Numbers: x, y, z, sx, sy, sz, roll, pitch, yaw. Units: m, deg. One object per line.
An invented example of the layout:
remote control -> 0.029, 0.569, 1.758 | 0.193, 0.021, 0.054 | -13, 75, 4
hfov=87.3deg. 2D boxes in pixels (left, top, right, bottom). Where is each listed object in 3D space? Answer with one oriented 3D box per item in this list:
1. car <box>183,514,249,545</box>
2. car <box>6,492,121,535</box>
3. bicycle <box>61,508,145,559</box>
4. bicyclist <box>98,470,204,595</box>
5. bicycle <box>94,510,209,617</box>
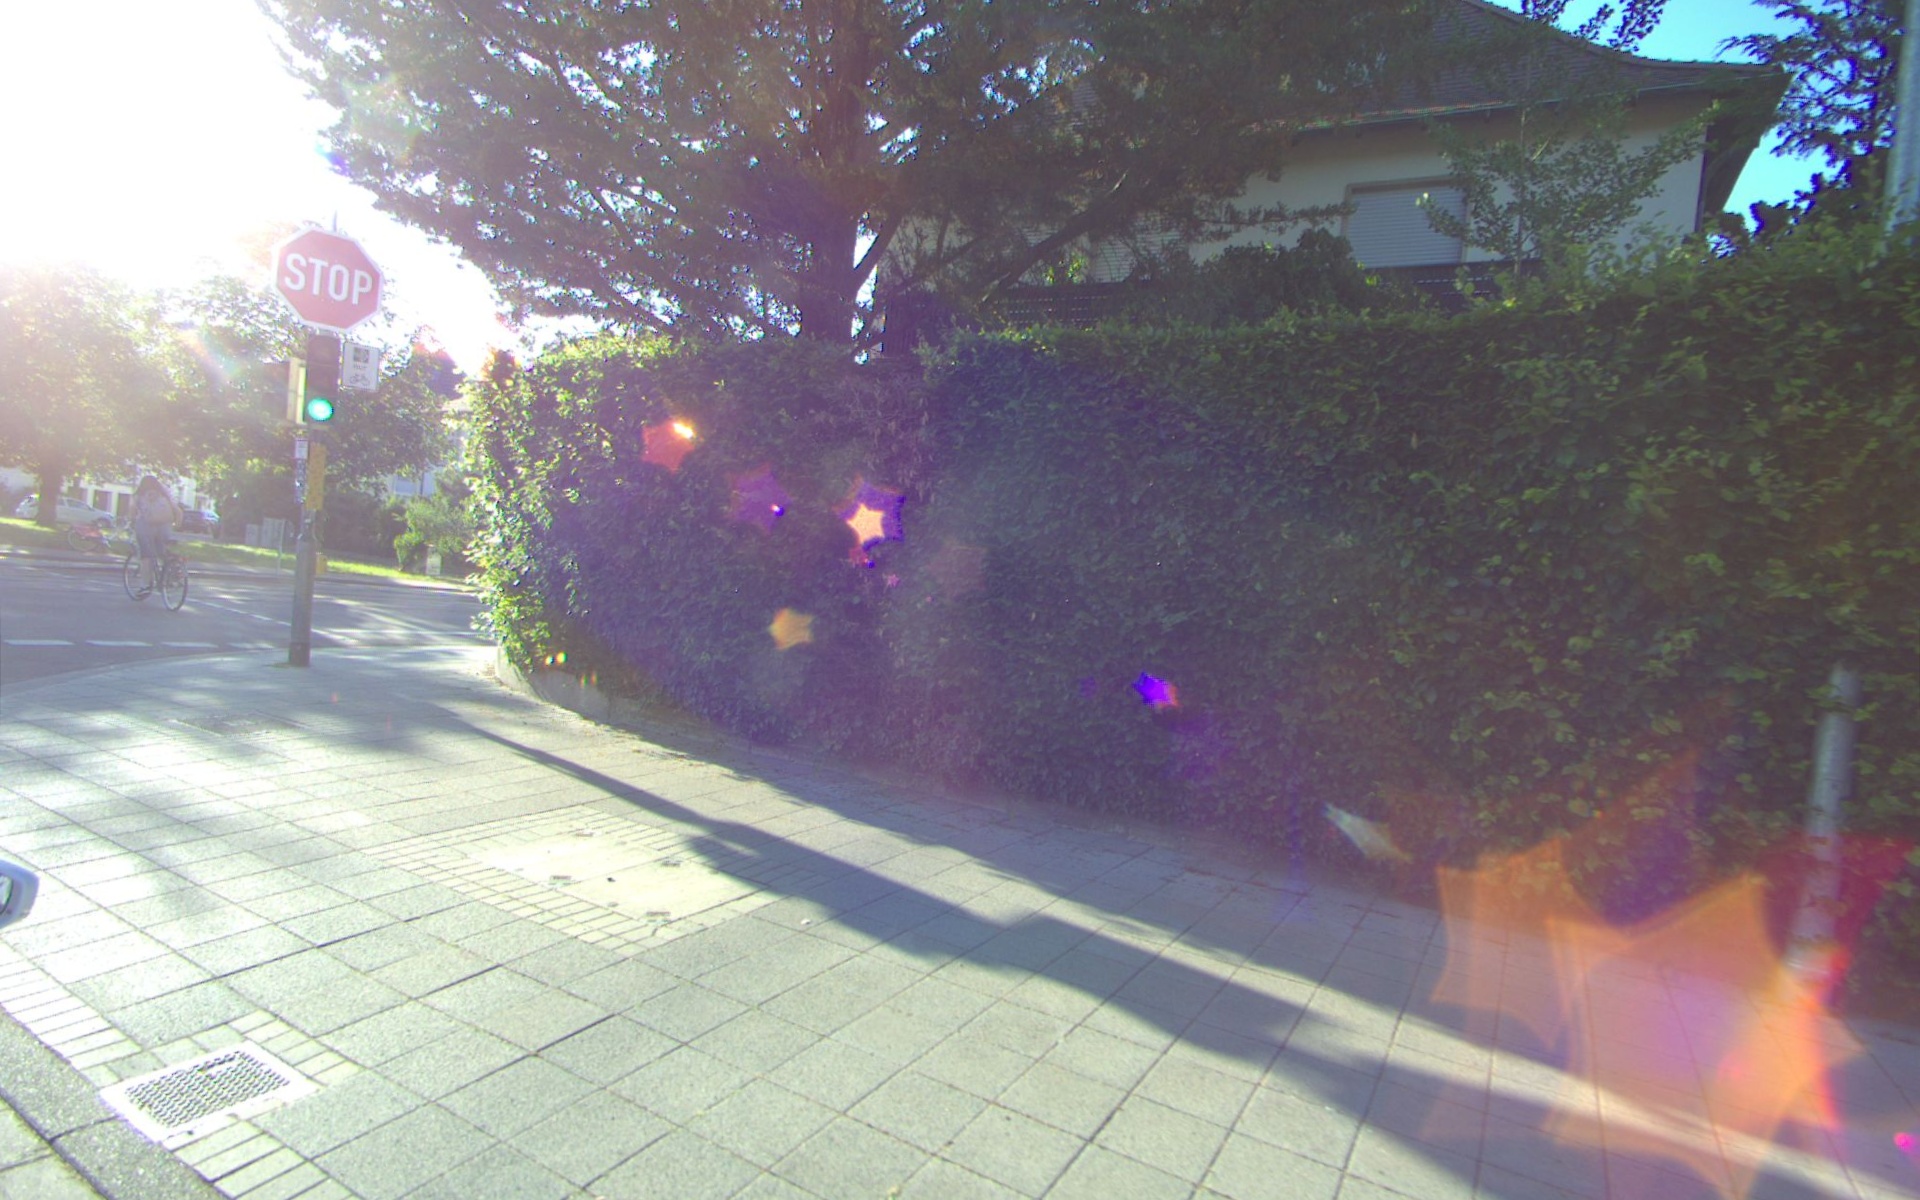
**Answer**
car -> -45.554, -4.287, 61.699 | 1.970, 1.571, 3.983 | 6, 0, -18
car -> -44.831, -4.292, 50.388 | 1.497, 1.541, 3.932 | 5, -2, 26
bicycle -> -22.033, -1.706, 25.879 | 0.460, 1.103, 1.520 | 8, 2, 39
bicyclist -> -11.086, -0.916, 13.799 | 0.878, 1.580, 0.714 | 6, -2, 29
bicycle -> -11.176, -0.523, 13.879 | 1.931, 1.198, 0.492 | 9, 0, 31
